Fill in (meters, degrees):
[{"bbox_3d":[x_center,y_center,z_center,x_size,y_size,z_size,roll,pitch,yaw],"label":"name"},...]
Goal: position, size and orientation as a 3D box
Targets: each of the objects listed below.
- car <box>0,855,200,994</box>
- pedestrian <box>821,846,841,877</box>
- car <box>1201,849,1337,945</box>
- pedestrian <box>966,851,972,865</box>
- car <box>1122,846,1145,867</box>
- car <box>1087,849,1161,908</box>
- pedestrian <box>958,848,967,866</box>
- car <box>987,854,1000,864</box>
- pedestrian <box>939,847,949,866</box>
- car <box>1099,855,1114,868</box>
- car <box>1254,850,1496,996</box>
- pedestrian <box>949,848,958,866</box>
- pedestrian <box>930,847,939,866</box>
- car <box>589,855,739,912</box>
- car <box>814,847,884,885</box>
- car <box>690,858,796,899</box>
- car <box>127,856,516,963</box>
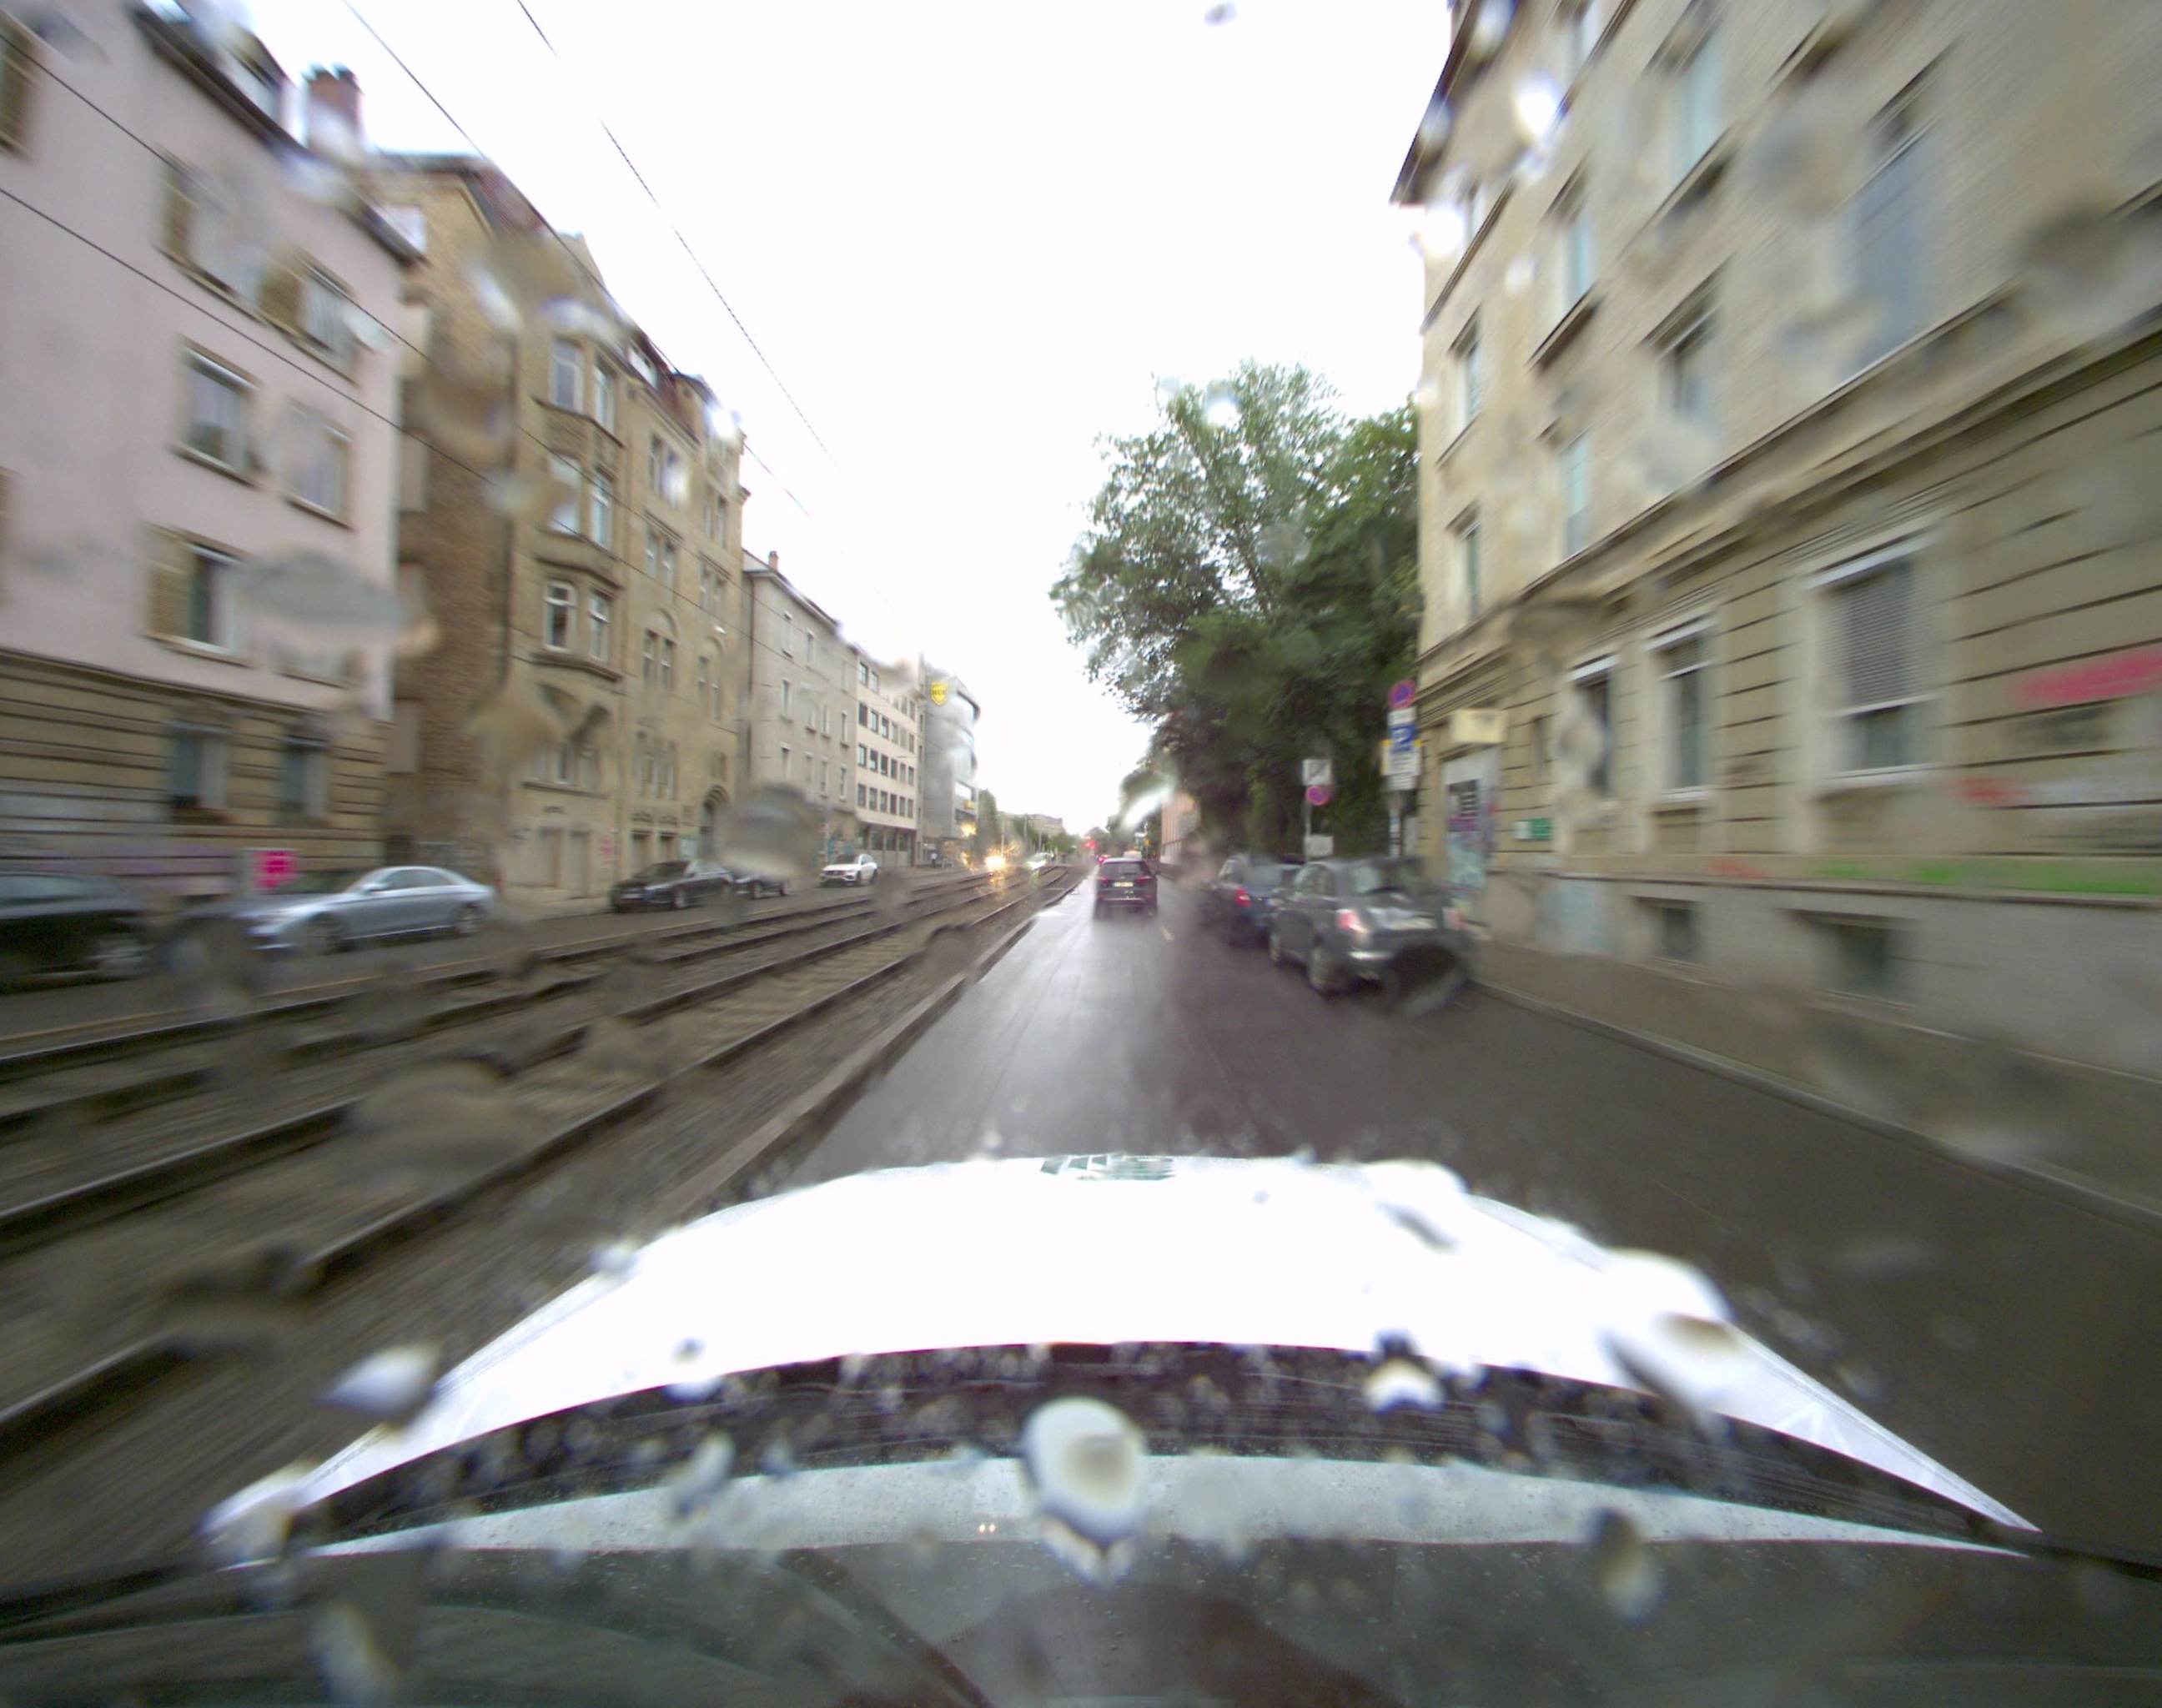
[{"bbox_3d":[-13.008,0.775,8.924,1.986,1.519,4.210,1,-1,2],"label":"car"},{"bbox_3d":[-14.447,0.432,47.058,0.799,1.750,0.984,1,-1,1],"label":"pedestrian"},{"bbox_3d":[3.284,0.682,14.961,1.637,1.516,4.040,1,0,1],"label":"car"},{"bbox_3d":[-15.434,0.571,112.469,0.741,1.854,0.839,0,-2,1],"label":"pedestrian"},{"bbox_3d":[4.768,0.287,74.631,1.986,1.816,4.273,0,-1,2],"label":"car"},{"bbox_3d":[1.243,0.708,24.039,1.986,1.594,4.273,0,-1,2],"label":"car"},{"bbox_3d":[-12.489,0.314,85.723,0.741,1.854,0.839,0,-2,1],"label":"pedestrian"},{"bbox_3d":[-13.360,0.717,124.641,1.991,1.442,3.991,1,0,-6],"label":"car"},{"bbox_3d":[-13.318,0.236,79.261,0.741,1.854,0.839,0,-2,1],"label":"pedestrian"},{"bbox_3d":[3.458,1.047,109.533,1.986,1.594,4.273,0,-1,2],"label":"car"},{"bbox_3d":[3.471,0.711,10.440,1.732,1.489,4.001,1,0,1],"label":"car"},{"bbox_3d":[-13.390,0.333,85.690,0.741,1.854,0.839,0,-2,1],"label":"pedestrian"},{"bbox_3d":[-14.256,0.268,79.236,0.741,1.854,0.839,0,-2,1],"label":"pedestrian"},{"bbox_3d":[-12.460,0.845,24.733,1.986,1.519,4.677,1,-1,2],"label":"car"},{"bbox_3d":[-11.897,0.617,42.177,1.986,1.839,5.073,1,-1,2],"label":"car"},{"bbox_3d":[-12.349,0.860,30.107,1.986,1.376,4.240,1,-1,2],"label":"car"},{"bbox_3d":[-12.757,0.836,14.315,1.986,1.519,4.993,1,-1,2],"label":"car"}]
